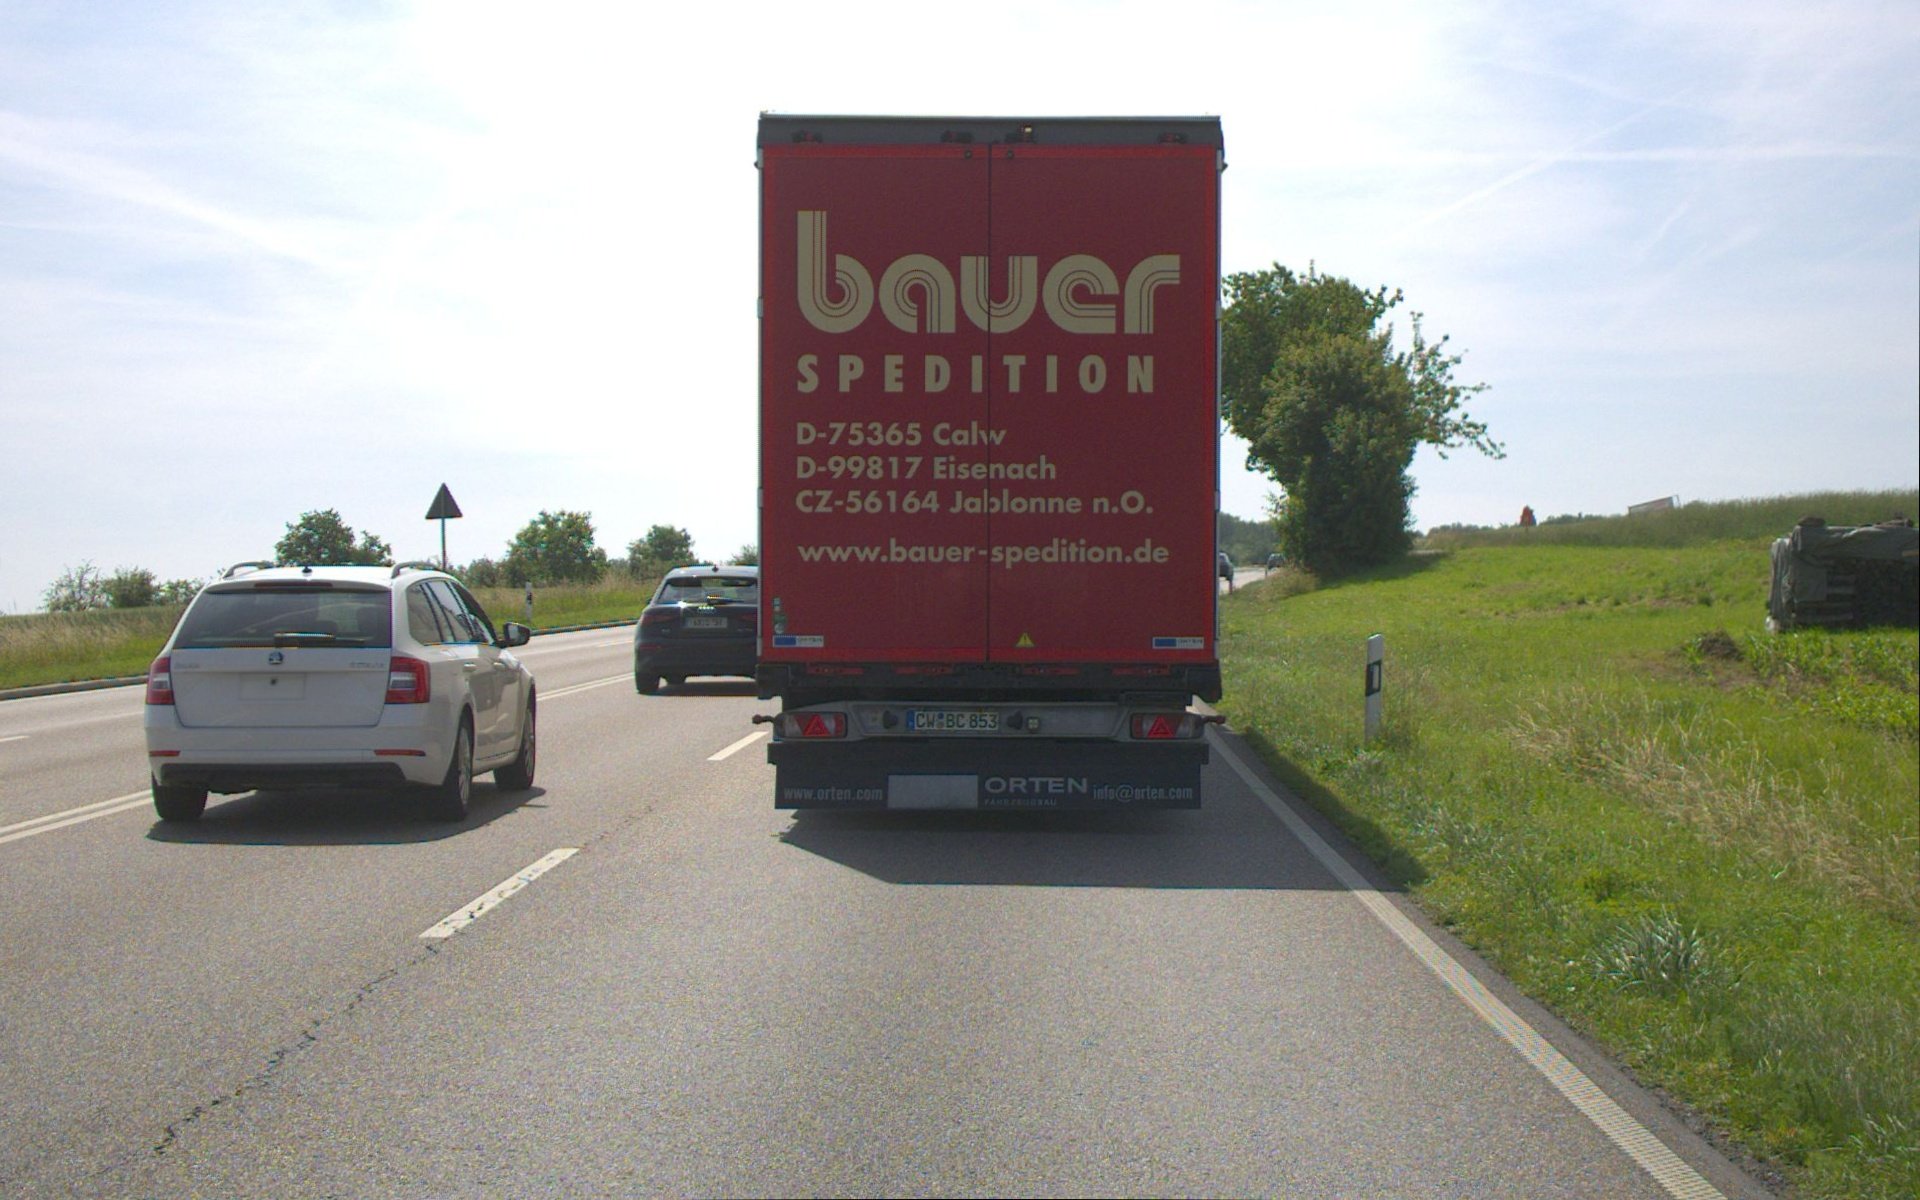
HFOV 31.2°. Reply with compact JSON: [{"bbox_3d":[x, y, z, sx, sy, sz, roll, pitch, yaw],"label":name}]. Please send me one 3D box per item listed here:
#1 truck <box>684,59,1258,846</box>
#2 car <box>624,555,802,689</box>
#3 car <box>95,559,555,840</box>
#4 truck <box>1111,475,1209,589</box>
[{"bbox_3d":[0.312,-0.873,26.718,3.007,4.166,16.713,1,1,2],"label":"truck"},{"bbox_3d":[-2.838,0.222,40.367,1.705,1.467,4.811,0,1,0],"label":"car"},{"bbox_3d":[-3.678,0.502,20.776,1.821,1.467,4.789,1,1,1],"label":"car"},{"bbox_3d":[7.514,-2.443,127.054,3.047,3.897,18.394,0,1,5],"label":"truck"}]
